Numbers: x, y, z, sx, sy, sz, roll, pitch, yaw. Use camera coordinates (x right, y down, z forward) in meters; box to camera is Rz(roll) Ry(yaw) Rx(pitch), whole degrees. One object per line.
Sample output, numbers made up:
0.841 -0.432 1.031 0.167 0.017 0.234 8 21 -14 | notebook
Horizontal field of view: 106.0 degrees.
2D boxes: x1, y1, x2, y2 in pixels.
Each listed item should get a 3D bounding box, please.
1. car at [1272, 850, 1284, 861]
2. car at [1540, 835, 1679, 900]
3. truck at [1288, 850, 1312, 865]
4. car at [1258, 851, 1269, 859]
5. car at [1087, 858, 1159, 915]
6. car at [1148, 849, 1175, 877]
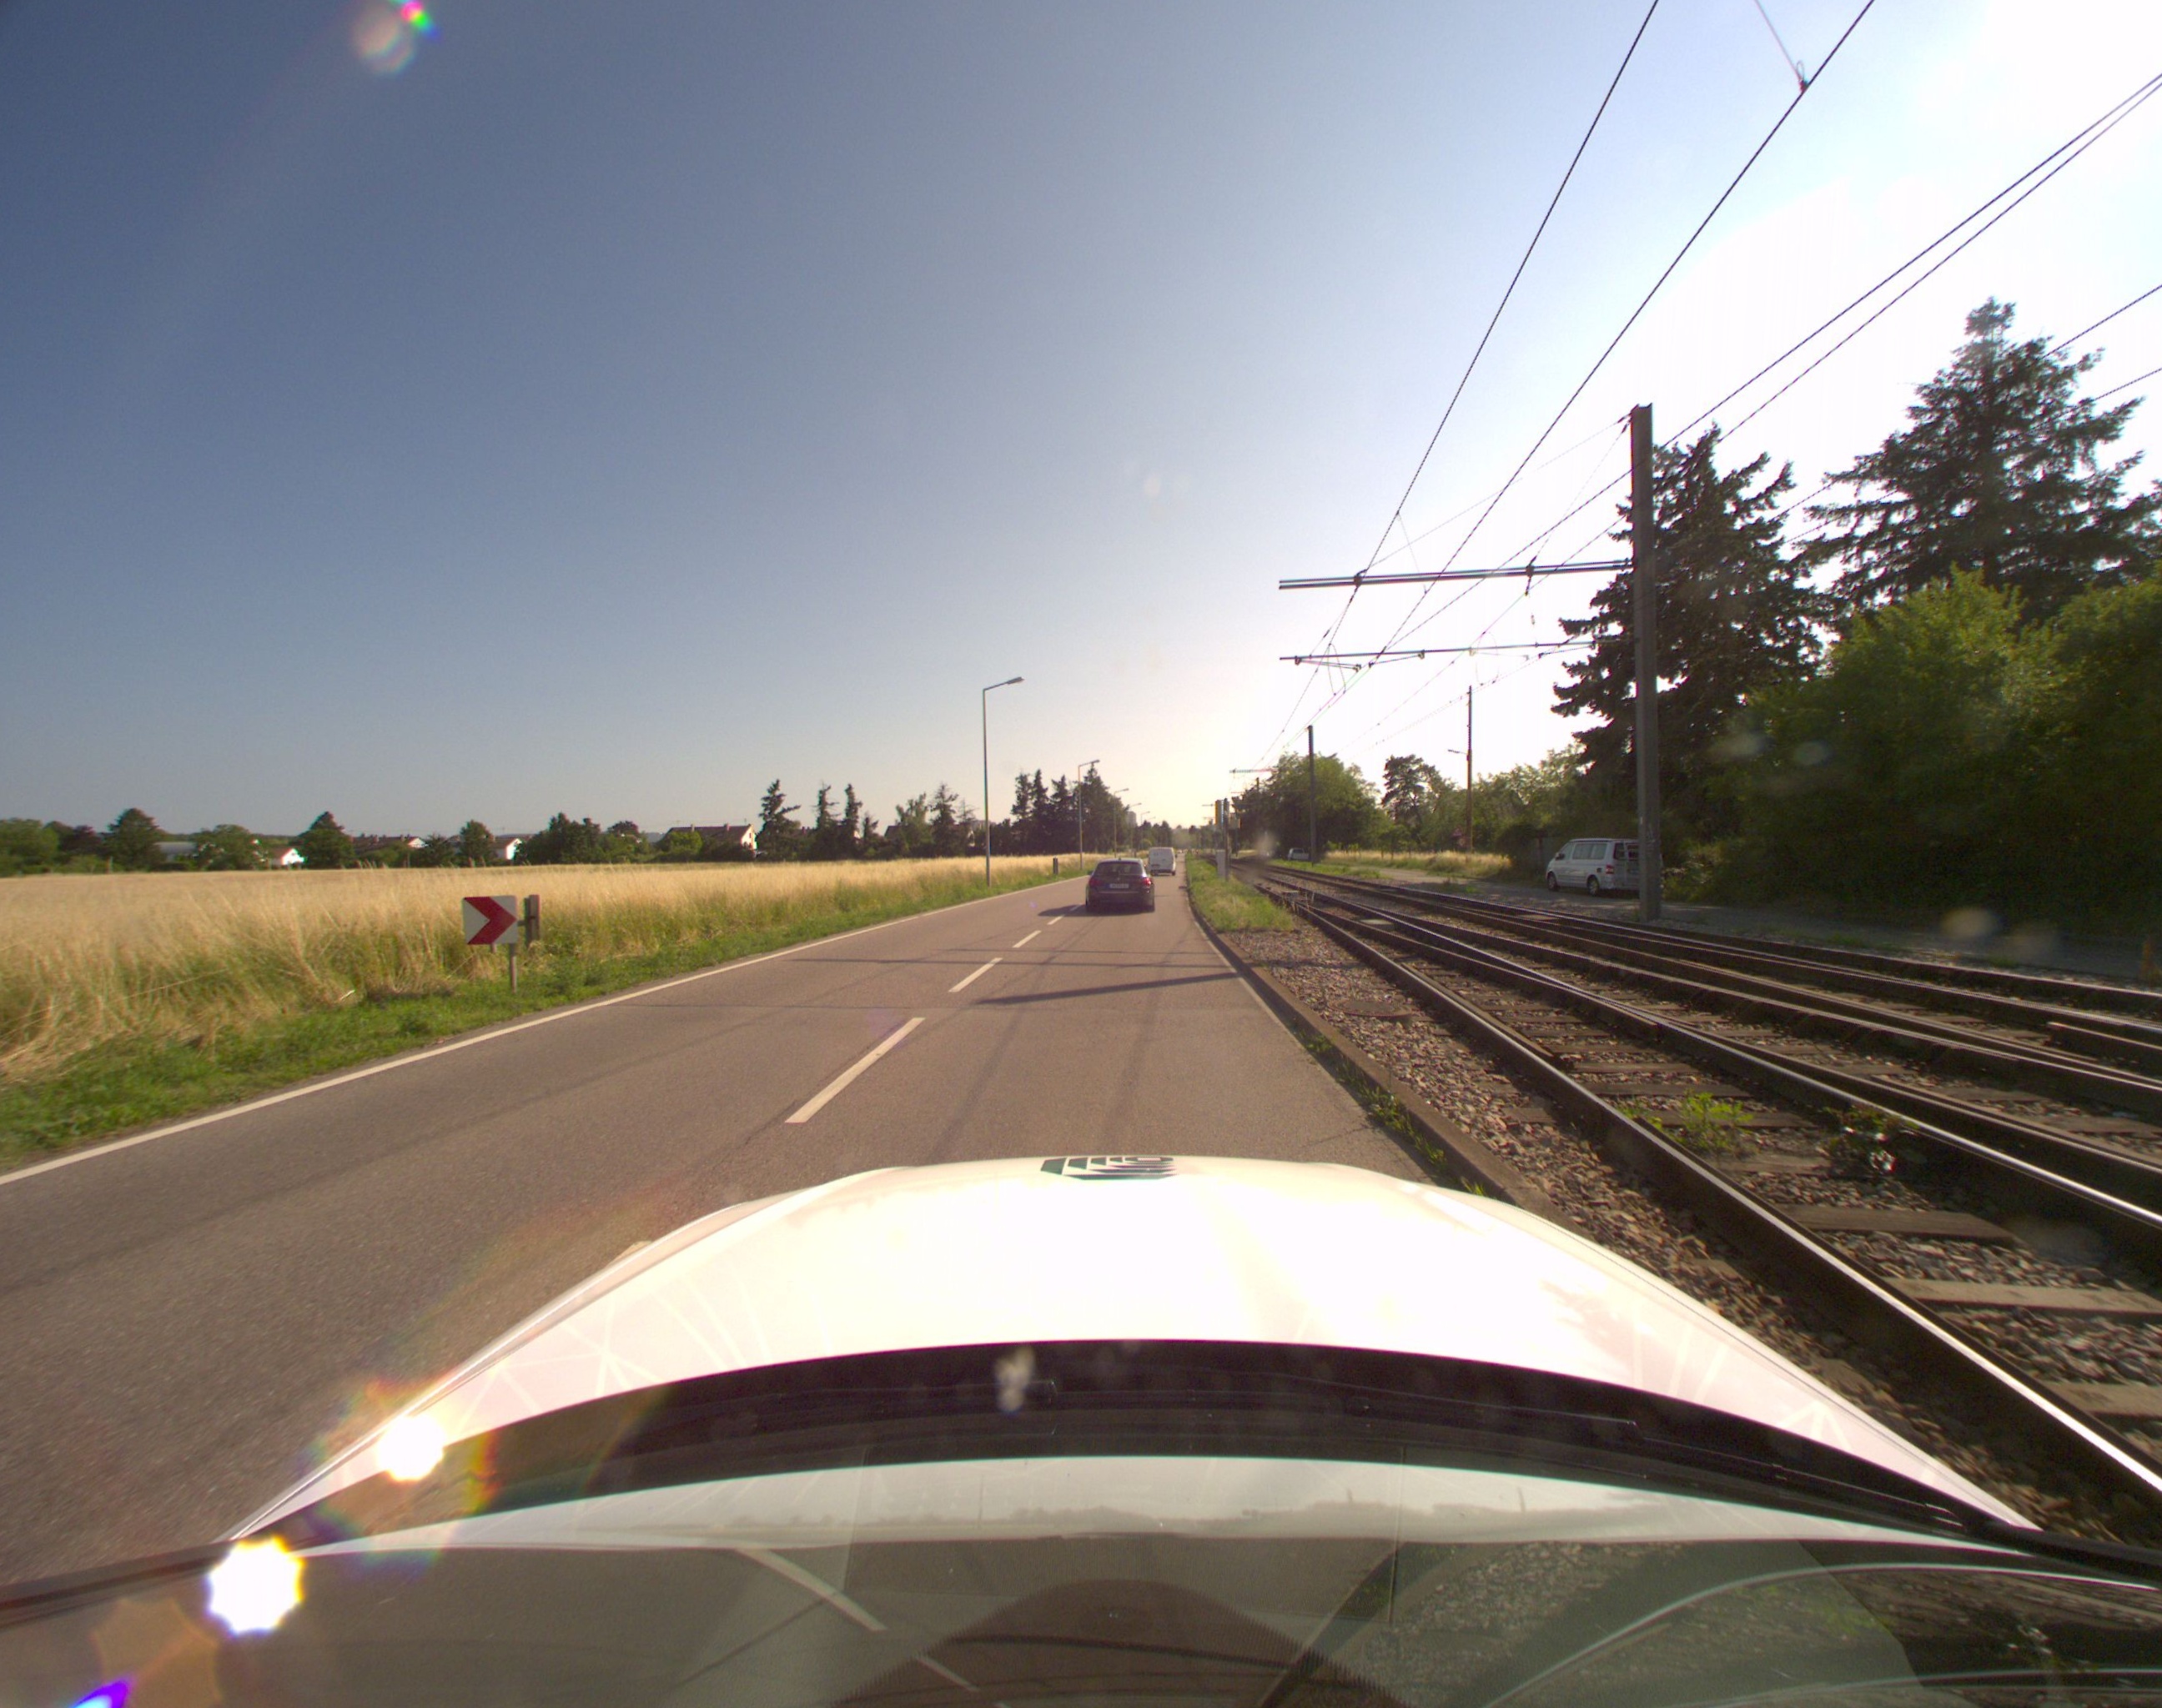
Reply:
31.759 0.289 131.225 1.724 1.679 3.553 0 -1 10 | car
18.232 0.410 28.430 1.983 2.004 5.076 2 0 6 | car
27.769 0.437 103.496 2.193 1.819 5.941 -1 0 7 | truck
33.434 0.151 149.357 1.612 1.398 3.497 0 -1 7 | car
1.221 0.836 23.292 1.861 1.452 4.748 0 0 3 | car
5.838 0.604 58.818 1.848 1.988 5.116 0 0 6 | car
